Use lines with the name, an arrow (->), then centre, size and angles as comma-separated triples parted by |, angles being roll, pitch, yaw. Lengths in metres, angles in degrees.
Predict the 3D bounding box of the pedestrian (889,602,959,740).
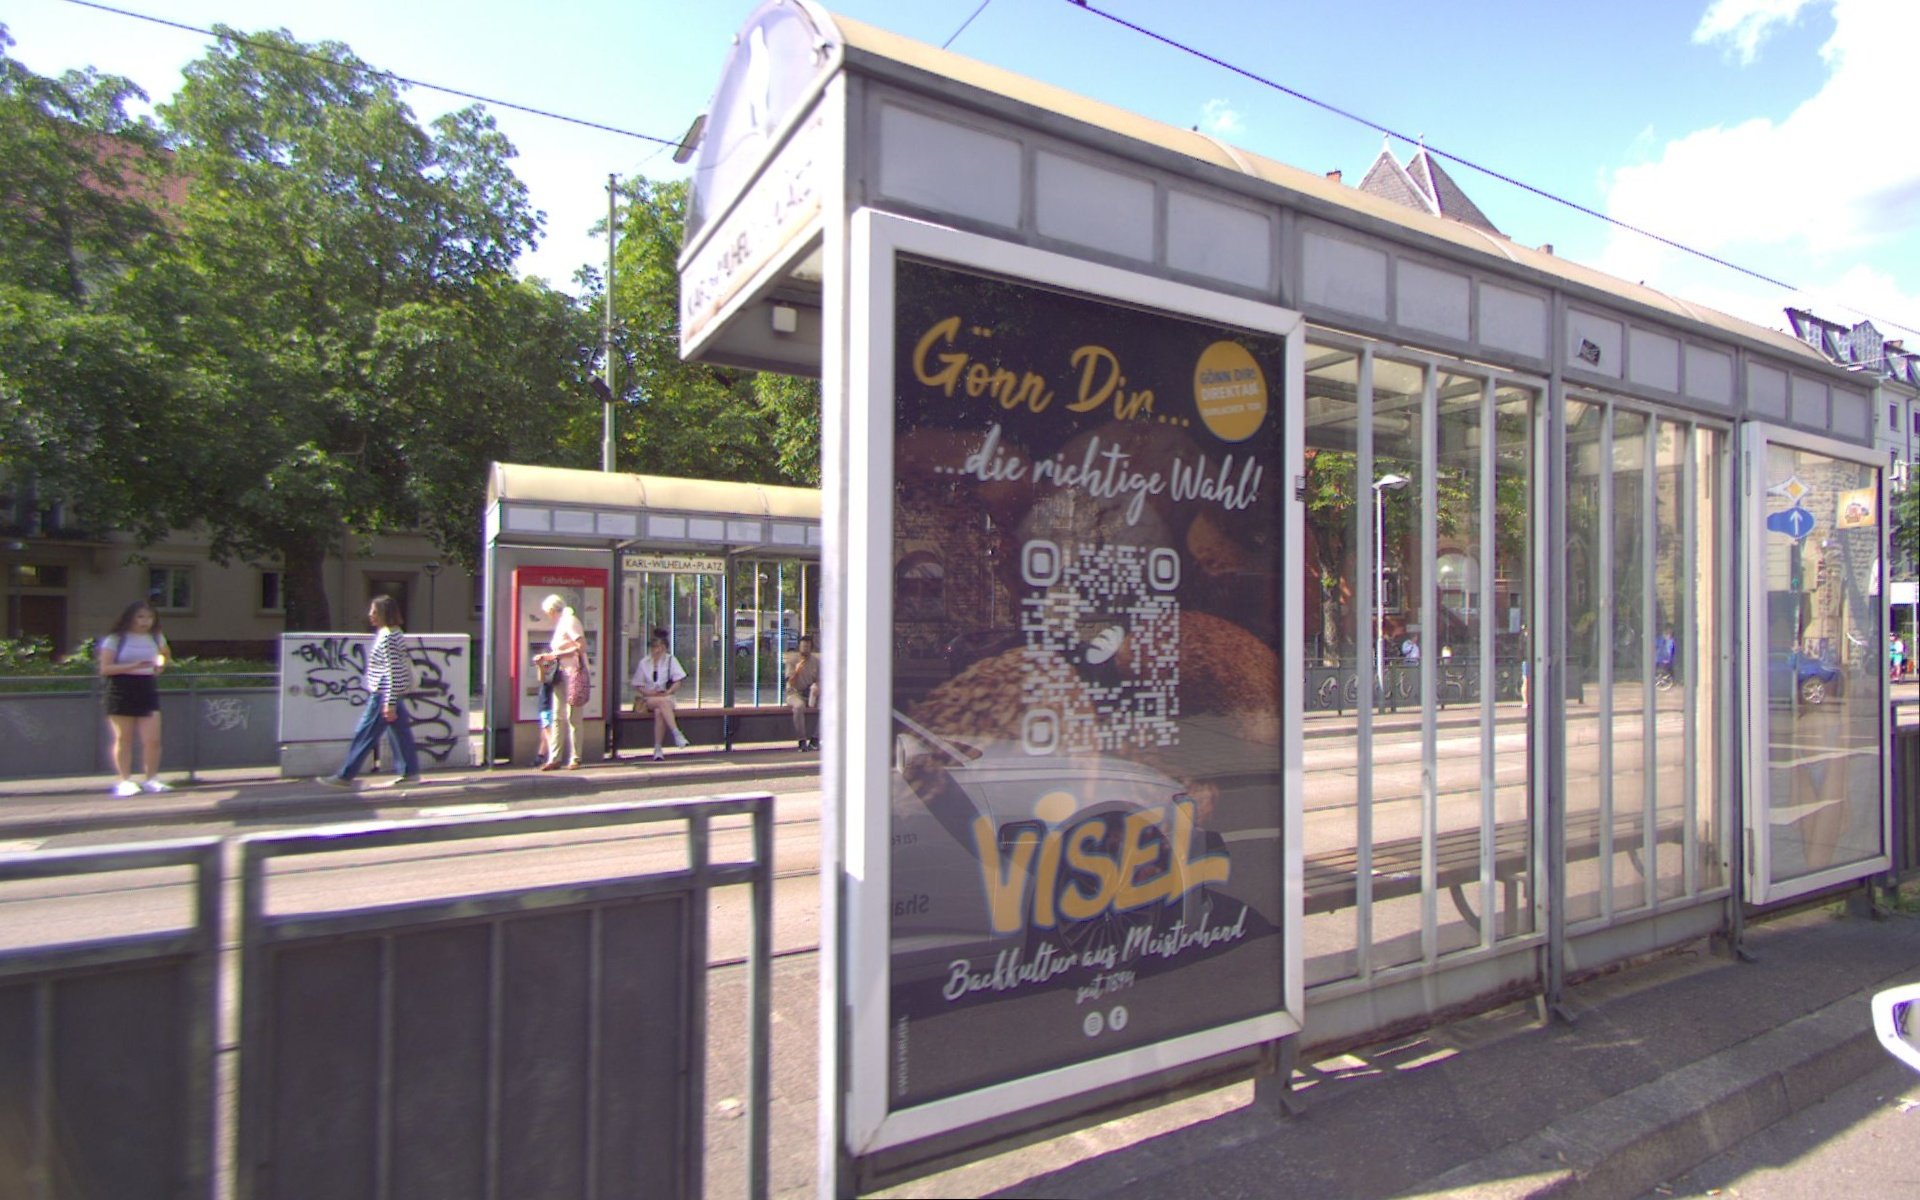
pedestrian -> -0.452, 0.873, 12.616 | 0.737, 1.679, 0.470 | 2, -2, -31

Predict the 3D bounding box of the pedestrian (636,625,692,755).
pedestrian -> -3.198, 0.966, 10.842 | 0.402, 1.354, 0.599 | 2, -5, -35

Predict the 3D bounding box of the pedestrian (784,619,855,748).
pedestrian -> -1.667, 0.981, 11.892 | 0.684, 1.476, 0.526 | 2, -4, -32

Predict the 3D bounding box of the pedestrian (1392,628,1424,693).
pedestrian -> 12.201, 1.641, 27.363 | 0.843, 1.721, 0.460 | 2, 0, -42

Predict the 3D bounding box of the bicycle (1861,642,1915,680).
bicycle -> 31.258, 2.039, 33.828 | 1.933, 1.175, 0.840 | 2, 1, -32

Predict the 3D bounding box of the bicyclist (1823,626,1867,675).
bicyclist -> 31.035, 1.761, 35.228 | 0.694, 1.666, 0.945 | 2, 0, -31

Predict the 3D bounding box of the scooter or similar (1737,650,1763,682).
scooter or similar -> 23.942, 1.989, 30.446 | 0.496, 0.934, 0.542 | 2, 0, -43

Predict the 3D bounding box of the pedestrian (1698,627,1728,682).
pedestrian -> 23.807, 1.696, 31.757 | 0.721, 1.679, 0.605 | 0, 1, -44

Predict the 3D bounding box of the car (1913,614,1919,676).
car -> 33.555, 1.531, 32.739 | 5.022, 2.021, 1.987 | 2, 0, -26

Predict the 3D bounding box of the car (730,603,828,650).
car -> -12.820, 1.890, 71.458 | 6.739, 3.291, 2.171 | 0, -1, -9

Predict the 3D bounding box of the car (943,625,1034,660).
car -> 1.400, 2.083, 48.998 | 3.953, 1.572, 1.984 | 2, 0, -30

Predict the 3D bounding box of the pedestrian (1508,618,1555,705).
pedestrian -> 10.629, 1.129, 18.682 | 0.510, 1.562, 0.534 | -1, -1, -30

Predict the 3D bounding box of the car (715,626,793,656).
car -> -11.886, 2.372, 58.121 | 4.237, 1.697, 1.998 | 0, -2, -7

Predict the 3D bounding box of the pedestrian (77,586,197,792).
pedestrian -> -7.007, 0.748, 8.586 | 0.631, 1.662, 0.653 | 2, -5, -30

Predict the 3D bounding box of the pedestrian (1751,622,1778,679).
pedestrian -> 24.288, 1.519, 30.326 | 0.747, 1.679, 0.515 | 2, 0, -44

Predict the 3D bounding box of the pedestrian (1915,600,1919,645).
pedestrian -> 43.854, 1.038, 45.418 | 0.789, 2.040, 0.485 | 2, 0, 3

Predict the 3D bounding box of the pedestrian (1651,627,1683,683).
pedestrian -> 22.309, 1.734, 31.688 | 0.843, 1.721, 0.617 | 2, 0, -42

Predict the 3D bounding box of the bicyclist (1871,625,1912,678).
bicyclist -> 31.408, 1.726, 33.885 | 0.665, 1.718, 0.833 | 2, 0, -31

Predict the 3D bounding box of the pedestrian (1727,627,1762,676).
pedestrian -> 27.522, 1.787, 35.238 | 0.802, 1.679, 0.520 | 2, 0, -10

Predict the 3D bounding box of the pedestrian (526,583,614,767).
pedestrian -> -3.752, 0.715, 9.672 | 0.672, 1.691, 0.493 | 2, -5, -36

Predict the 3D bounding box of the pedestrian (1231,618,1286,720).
pedestrian -> 4.595, 1.060, 15.456 | 0.695, 1.523, 0.426 | 2, -3, -30

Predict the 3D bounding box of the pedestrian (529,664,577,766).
pedestrian -> -3.881, 1.082, 9.566 | 0.343, 0.942, 0.337 | 2, -5, -36

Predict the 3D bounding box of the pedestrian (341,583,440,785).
pedestrian -> -4.842, 0.702, 8.539 | 0.632, 1.627, 0.651 | 2, -5, -35

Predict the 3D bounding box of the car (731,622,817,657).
car -> -9.487, 2.002, 51.180 | 4.243, 1.697, 1.995 | 1, -2, -14

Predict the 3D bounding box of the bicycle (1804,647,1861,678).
bicycle -> 30.863, 2.195, 35.529 | 1.839, 0.945, 0.993 | 0, 2, -31
